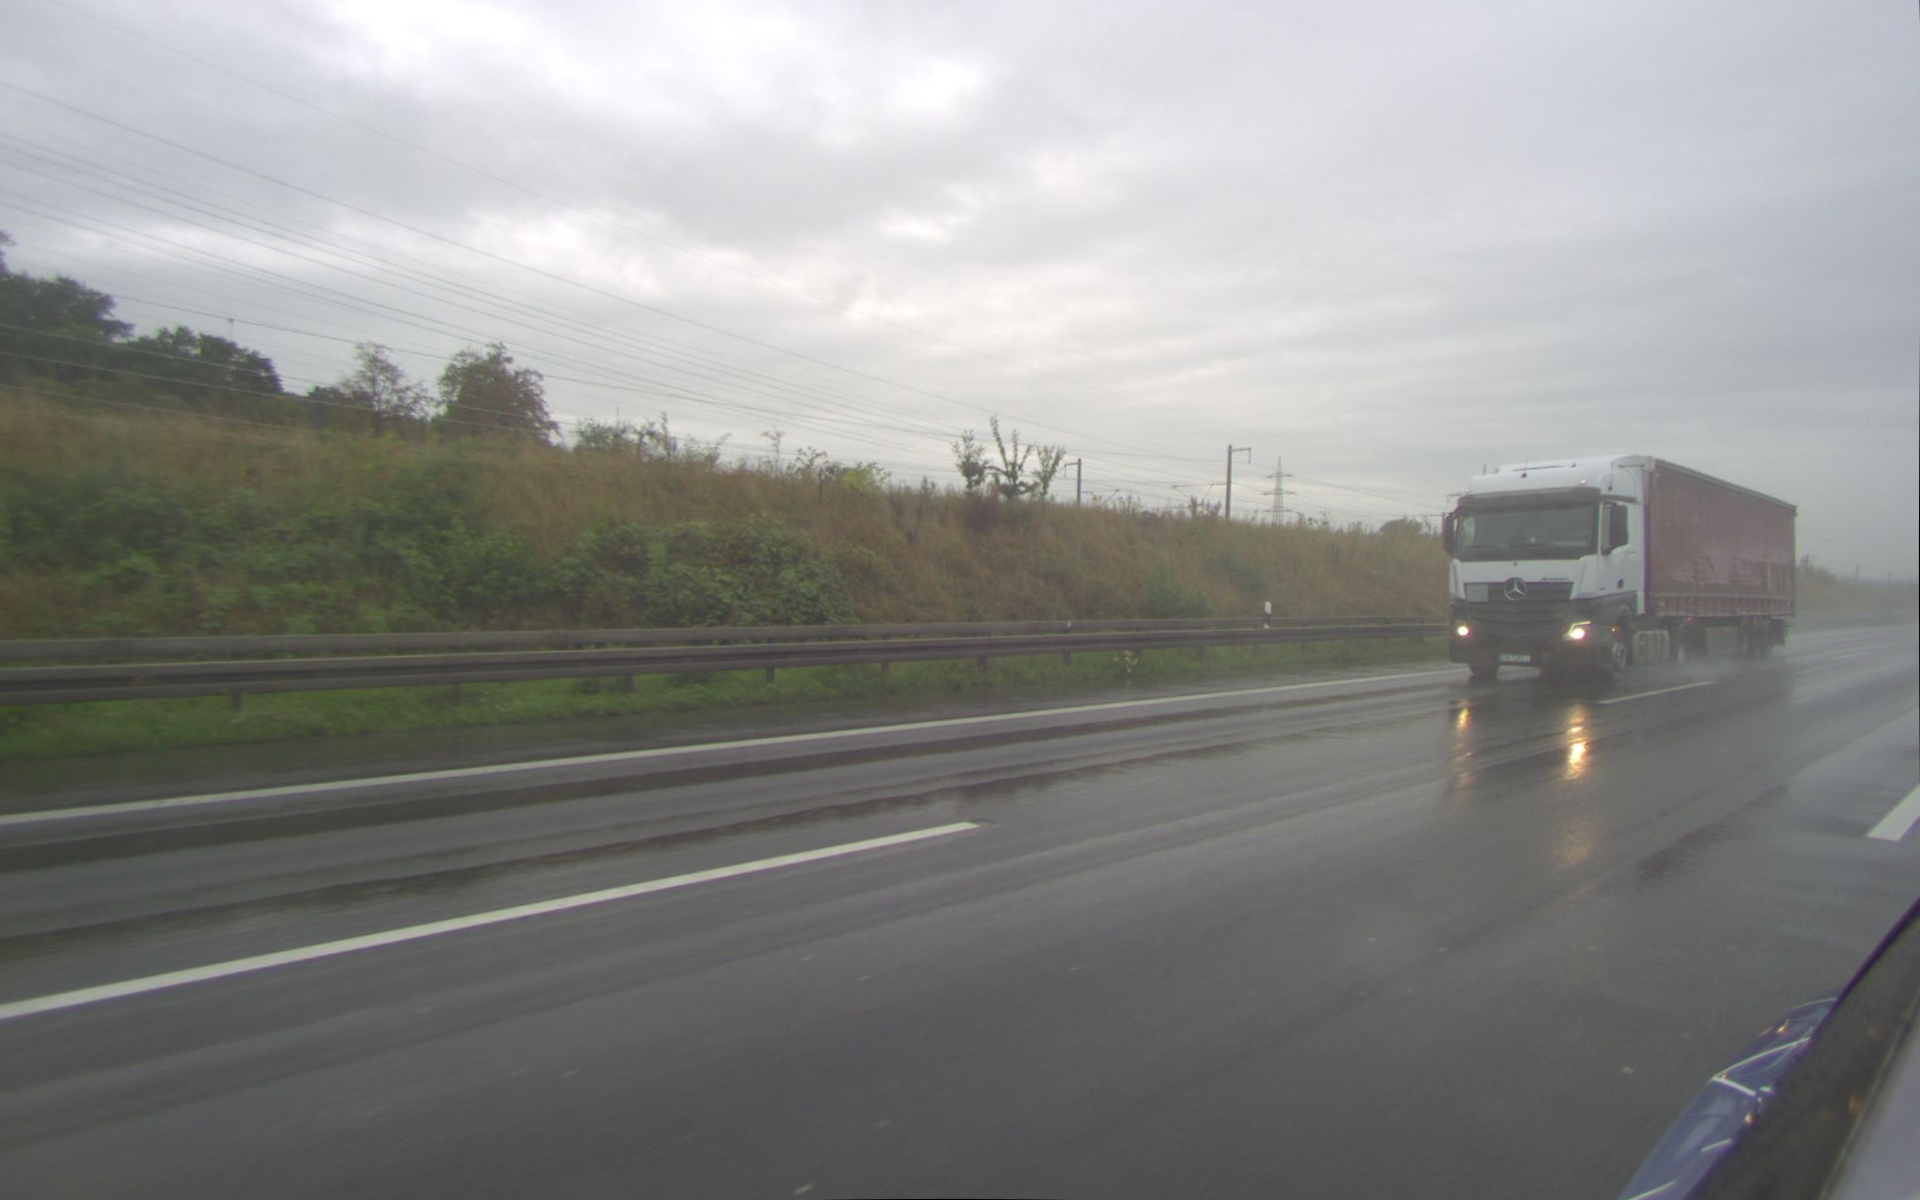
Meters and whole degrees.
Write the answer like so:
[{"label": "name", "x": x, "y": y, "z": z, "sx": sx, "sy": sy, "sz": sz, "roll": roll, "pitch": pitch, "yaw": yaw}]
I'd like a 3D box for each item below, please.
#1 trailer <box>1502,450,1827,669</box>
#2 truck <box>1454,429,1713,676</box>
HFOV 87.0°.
[{"label": "trailer", "x": 17.357, "y": -0.692, "z": 23.916, "sx": 16.256, "sy": 3.813, "sz": 2.484, "roll": 0, "pitch": 0, "yaw": -41}, {"label": "truck", "x": 11.896, "y": -0.764, "z": 19.089, "sx": 6.090, "sy": 3.938, "sz": 2.456, "roll": 0, "pitch": 0, "yaw": -41}]
